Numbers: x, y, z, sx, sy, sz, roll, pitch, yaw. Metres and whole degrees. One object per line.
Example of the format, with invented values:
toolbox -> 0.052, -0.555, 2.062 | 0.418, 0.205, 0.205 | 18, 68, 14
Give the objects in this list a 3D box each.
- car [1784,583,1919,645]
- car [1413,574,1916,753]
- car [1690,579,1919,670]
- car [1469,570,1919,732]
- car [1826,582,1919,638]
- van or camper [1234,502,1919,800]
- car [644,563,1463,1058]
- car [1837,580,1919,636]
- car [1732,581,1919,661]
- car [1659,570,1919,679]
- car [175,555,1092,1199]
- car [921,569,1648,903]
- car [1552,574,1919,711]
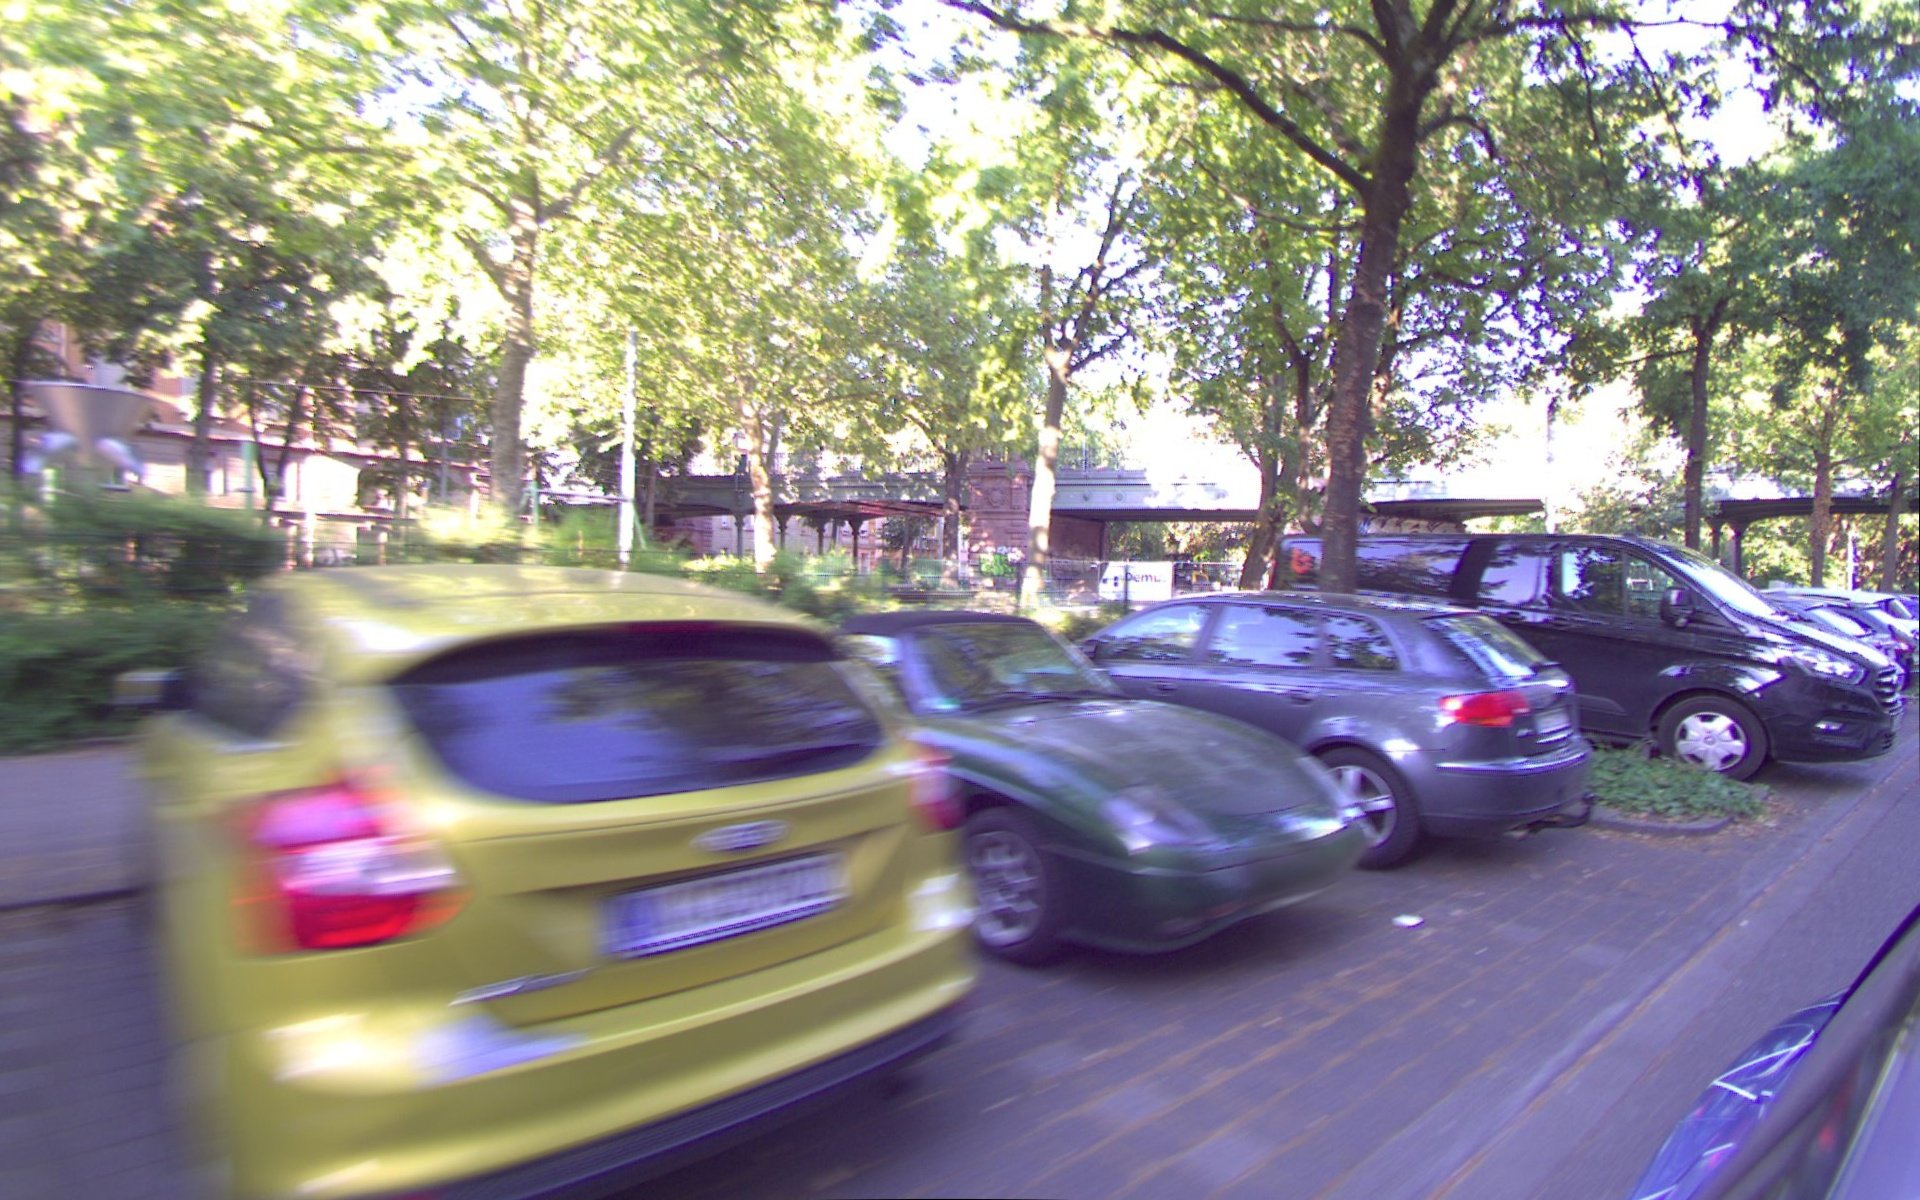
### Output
car -> 23.932, 0.340, 26.223 | 1.636, 1.418, 3.789 | -2, 4, -41
car -> 7.742, 0.527, 11.478 | 1.807, 1.519, 4.405 | -3, 4, -43
car -> 16.786, 0.404, 19.748 | 1.634, 1.491, 3.792 | -2, 4, -38
car -> 9.079, 0.469, 12.834 | 1.634, 1.596, 4.411 | -2, 4, -38
car -> 26.255, 0.280, 27.559 | 1.795, 1.418, 3.791 | -2, 4, -39
van or camper -> 5.516, 0.244, 9.713 | 1.992, 2.052, 5.429 | 1, 2, -38
car -> 0.014, 0.567, 5.377 | 1.804, 1.458, 4.411 | -1, 3, -38
car -> 27.844, 0.239, 29.149 | 1.609, 1.490, 3.785 | -3, 4, -44
car -> 18.818, 0.393, 21.276 | 1.633, 1.464, 3.795 | -2, 3, -35
car -> 14.902, 0.342, 17.965 | 1.635, 1.666, 3.791 | -2, 4, -40
car -> -1.737, 0.585, 3.739 | 1.804, 1.458, 4.411 | -1, 3, -38
car -> 1.826, 0.556, 6.886 | 1.806, 1.458, 4.407 | -1, 3, -41
car -> 11.429, 0.471, 14.884 | 1.633, 1.596, 4.414 | -2, 3, -35
